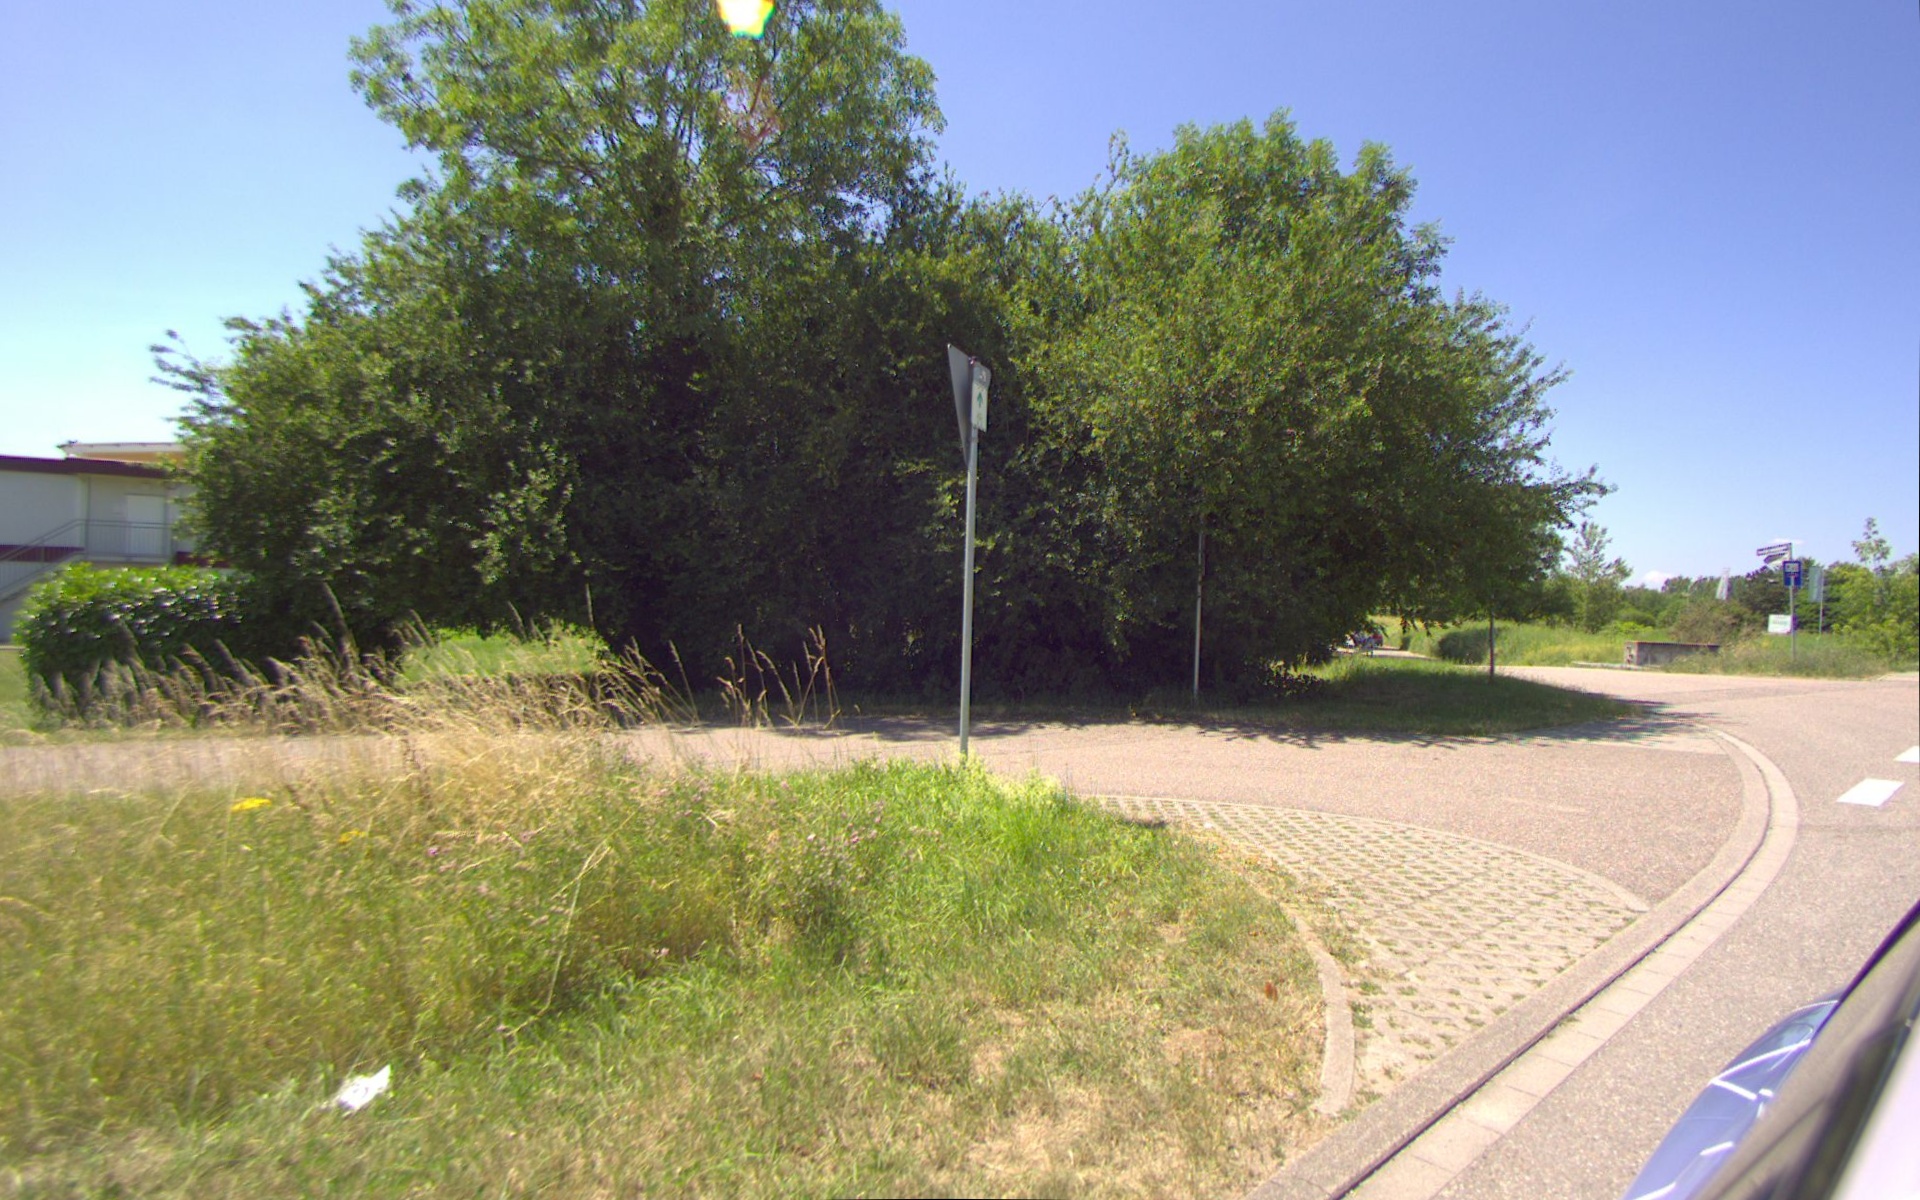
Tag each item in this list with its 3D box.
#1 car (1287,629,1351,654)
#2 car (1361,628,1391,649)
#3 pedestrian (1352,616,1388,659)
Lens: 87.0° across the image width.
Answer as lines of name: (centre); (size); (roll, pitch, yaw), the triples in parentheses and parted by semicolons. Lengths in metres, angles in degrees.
car: (27.809, 3.192, 78.499); (4.450, 1.644, 1.990); (2, 0, 16)
car: (37.182, 3.401, 90.575); (1.972, 1.644, 4.489); (2, 0, 16)
pedestrian: (14.604, 1.338, 36.040); (0.832, 1.410, 0.684); (5, 0, -24)
